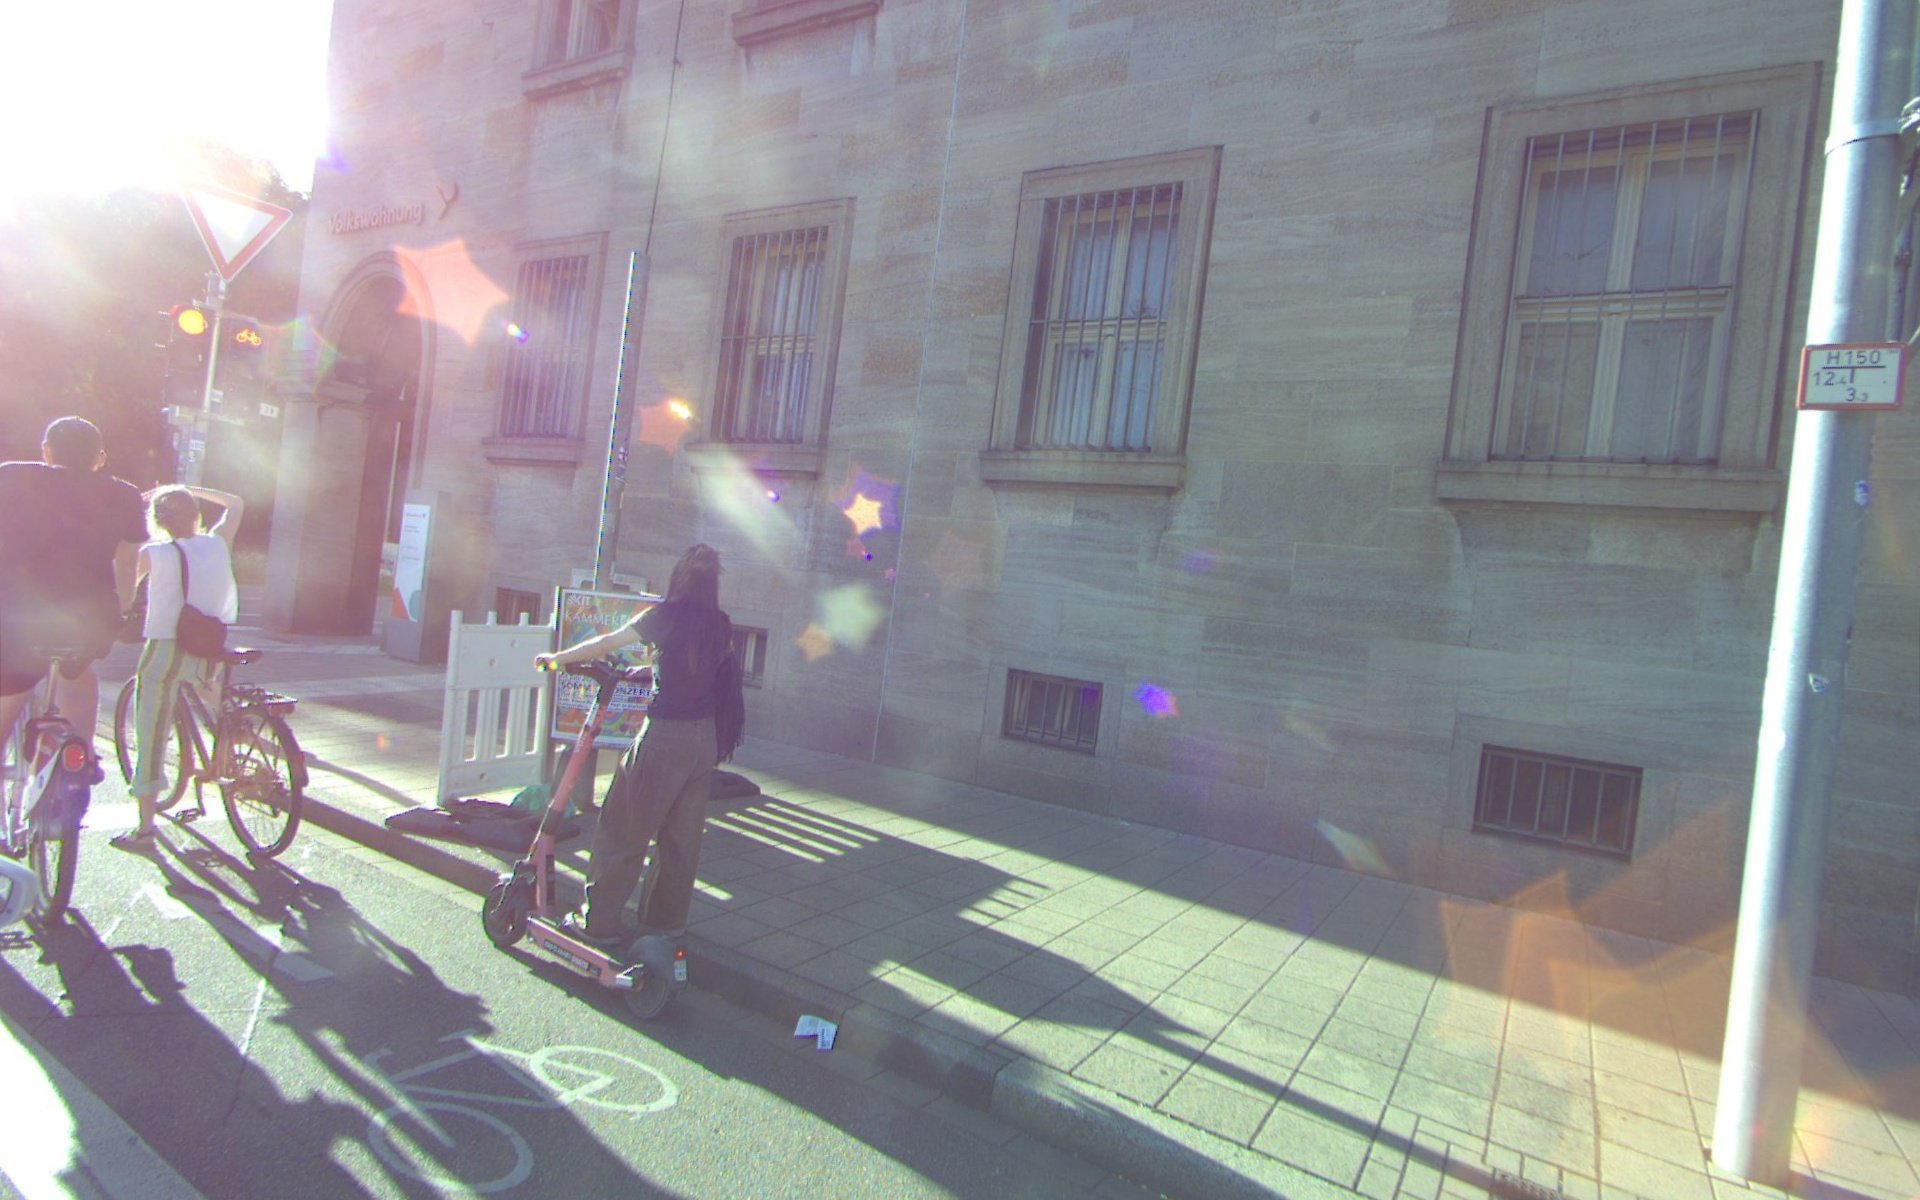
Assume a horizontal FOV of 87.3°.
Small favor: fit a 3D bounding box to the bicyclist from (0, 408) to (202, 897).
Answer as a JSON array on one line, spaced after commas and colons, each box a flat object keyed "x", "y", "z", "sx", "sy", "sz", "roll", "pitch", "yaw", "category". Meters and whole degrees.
[{"x": -3.662, "y": 0.175, "z": 3.985, "sx": 0.897, "sy": 1.736, "sz": 0.624, "roll": 7, "pitch": 0, "yaw": 31, "category": "bicyclist"}]

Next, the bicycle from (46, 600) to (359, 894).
[{"x": -3.714, "y": 0.634, "z": 4.887, "sx": 1.718, "sy": 1.057, "sz": 0.582, "roll": 7, "pitch": 0, "yaw": 33, "category": "bicycle"}]

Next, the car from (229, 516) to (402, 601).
[{"x": -20.284, "y": -1.256, "z": 31.804, "sx": 1.968, "sy": 2.037, "sz": 3.994, "roll": 6, "pitch": -2, "yaw": 33, "category": "car"}]

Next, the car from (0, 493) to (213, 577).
[{"x": -23.484, "y": -1.745, "z": 27.349, "sx": 1.967, "sy": 1.533, "sz": 4.586, "roll": 6, "pitch": -2, "yaw": 32, "category": "car"}]

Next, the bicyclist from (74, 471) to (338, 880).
[{"x": -3.647, "y": 0.321, "z": 4.866, "sx": 0.934, "sy": 1.760, "sz": 0.584, "roll": 7, "pitch": 0, "yaw": 32, "category": "bicyclist"}]

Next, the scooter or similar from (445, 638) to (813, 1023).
[{"x": -1.300, "y": 0.804, "z": 3.913, "sx": 1.251, "sy": 1.163, "sz": 0.574, "roll": 5, "pitch": -2, "yaw": 31, "category": "scooter or similar"}]

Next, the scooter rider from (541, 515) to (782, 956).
[{"x": -1.186, "y": 0.497, "z": 3.997, "sx": 0.569, "sy": 1.581, "sz": 0.543, "roll": 6, "pitch": 0, "yaw": 44, "category": "scooter rider"}]

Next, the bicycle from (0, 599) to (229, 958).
[{"x": -3.726, "y": 0.596, "z": 3.990, "sx": 1.717, "sy": 1.057, "sz": 0.624, "roll": 7, "pitch": 0, "yaw": 31, "category": "bicycle"}]
